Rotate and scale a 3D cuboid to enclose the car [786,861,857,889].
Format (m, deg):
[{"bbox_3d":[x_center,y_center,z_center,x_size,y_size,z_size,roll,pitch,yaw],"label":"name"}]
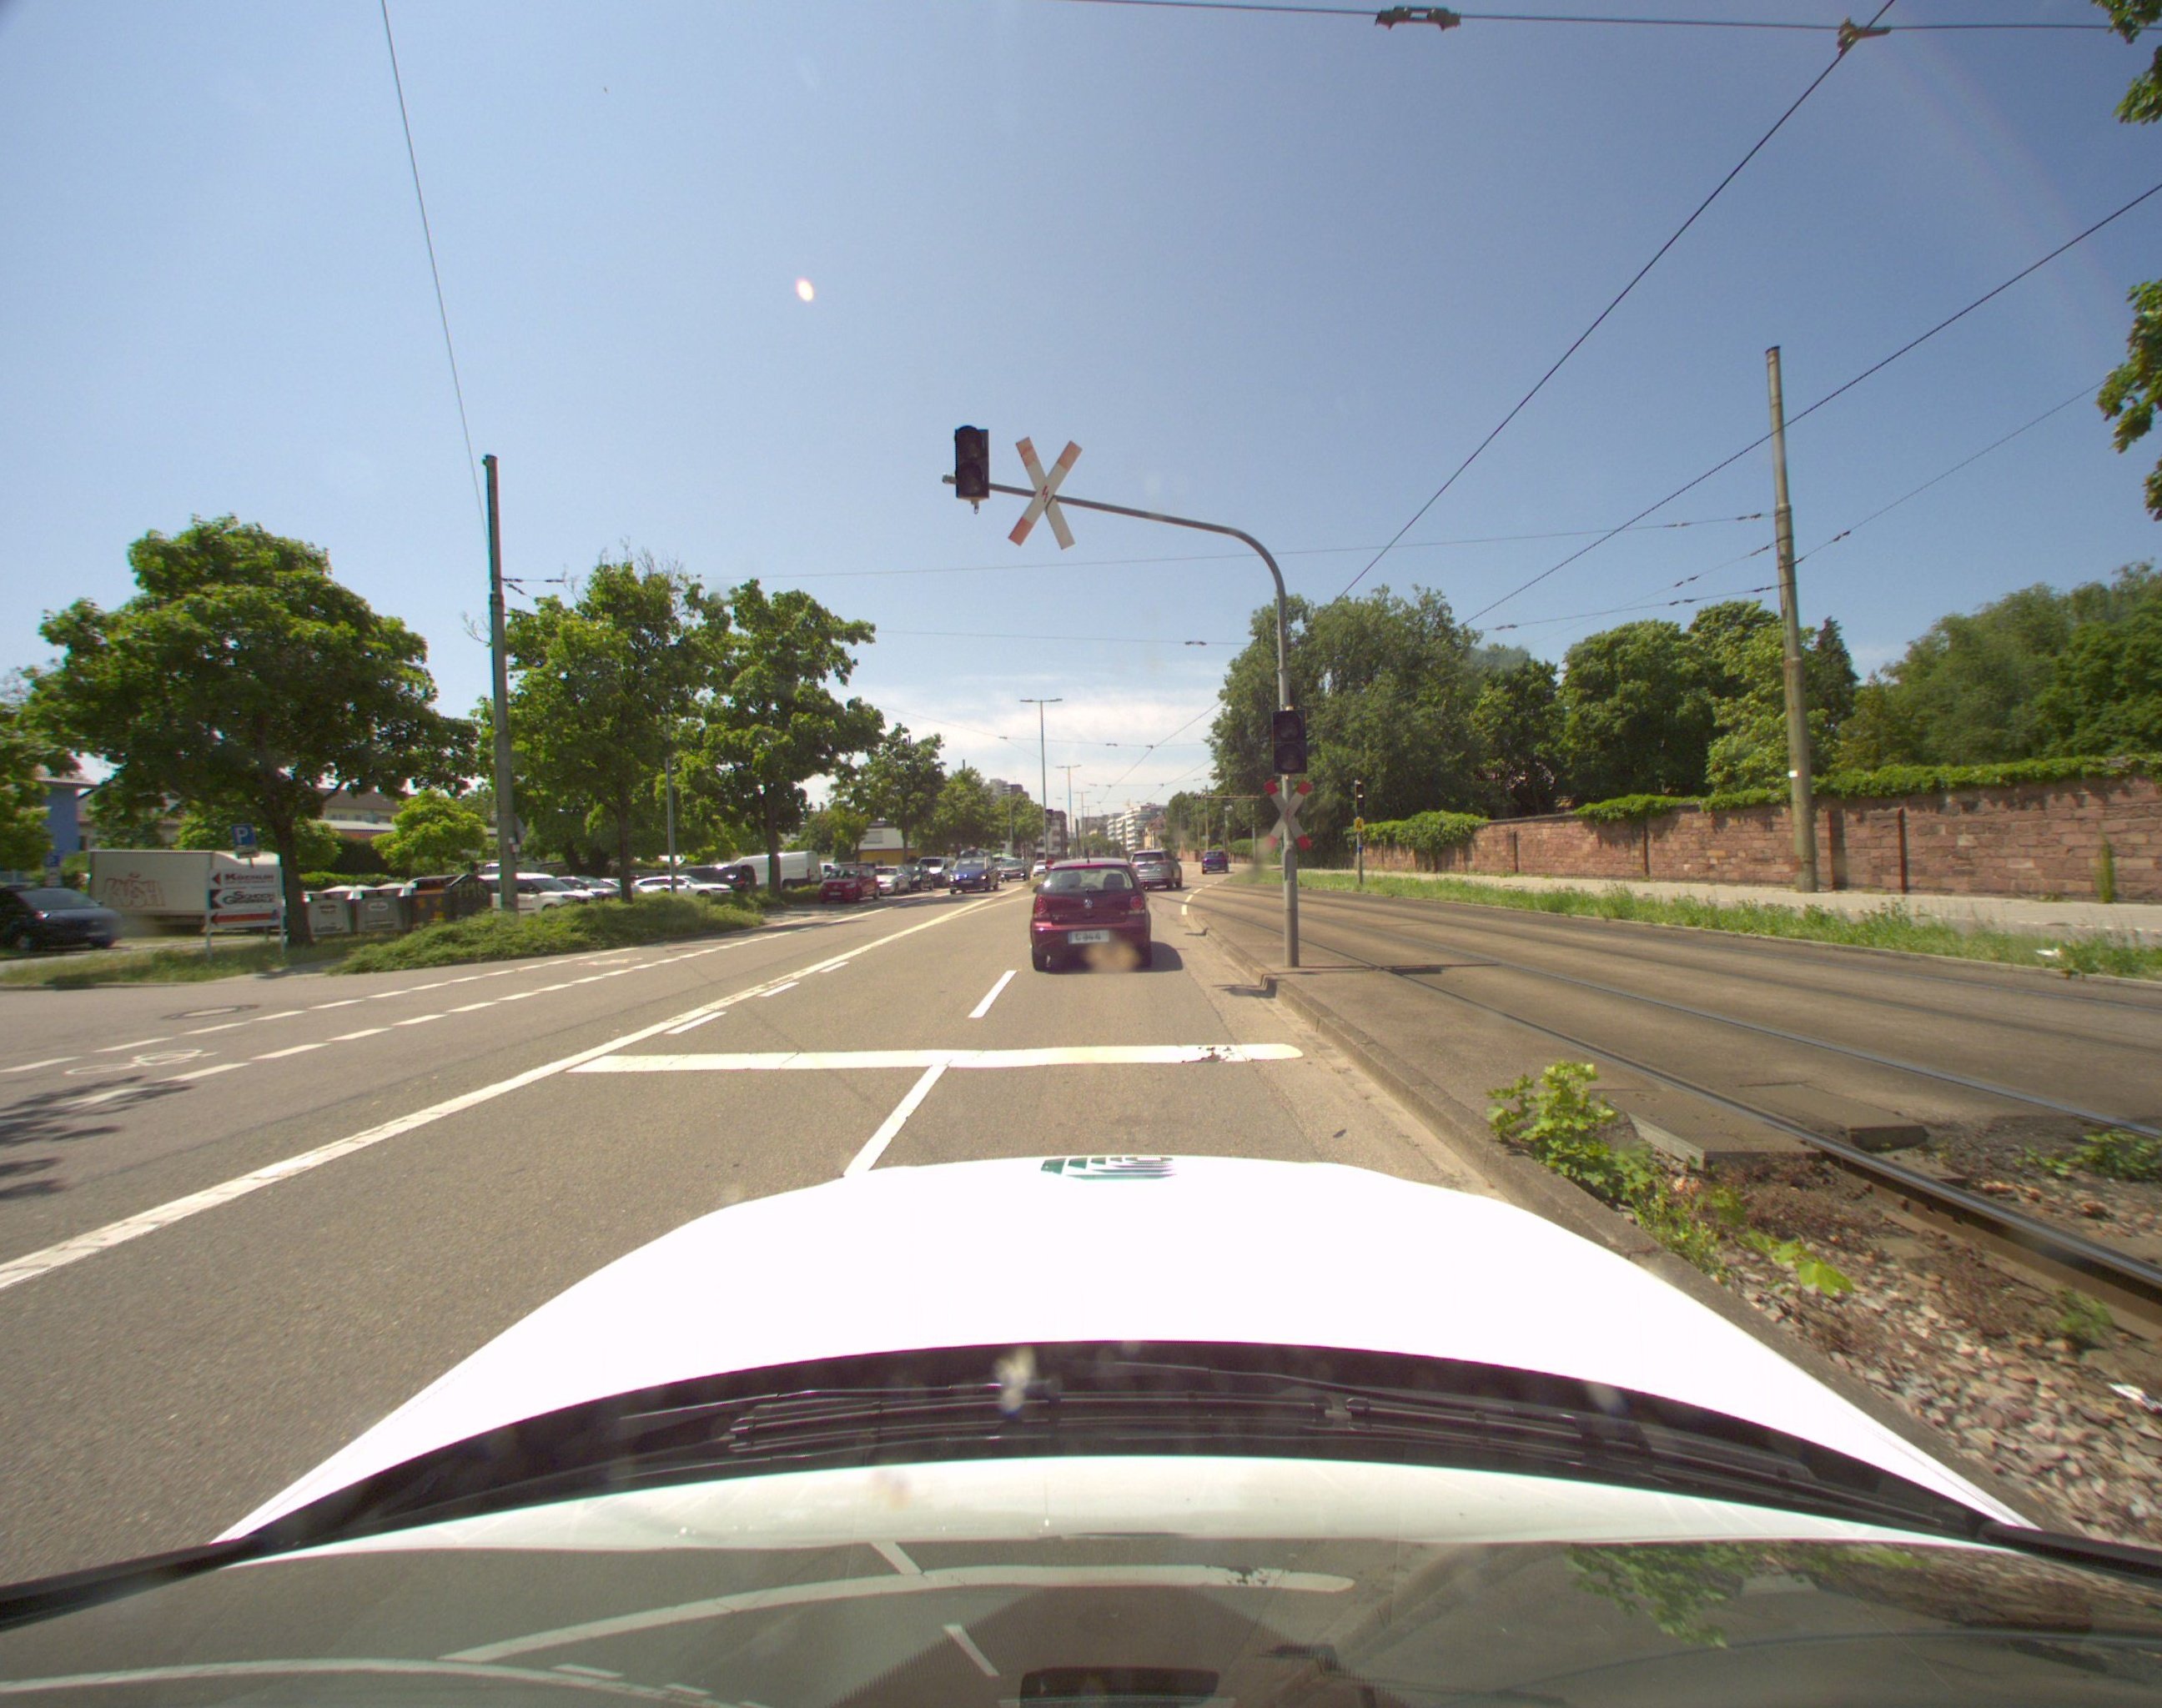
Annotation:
[{"bbox_3d":[-19.605,1.565,61.700,4.703,1.813,1.796,-3,0,-1],"label":"car"}]

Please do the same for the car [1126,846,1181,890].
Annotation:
[{"bbox_3d":[3.036,0.548,33.512,1.784,1.683,4.012,-1,0,11],"label":"car"}]

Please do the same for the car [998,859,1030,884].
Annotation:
[{"bbox_3d":[-4.616,1.202,56.707,1.731,1.575,3.714,-3,0,1],"label":"car"}]

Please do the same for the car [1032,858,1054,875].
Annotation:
[{"bbox_3d":[-3.456,1.166,74.539,1.642,1.376,3.812,-4,-1,2],"label":"car"}]

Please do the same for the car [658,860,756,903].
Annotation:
[{"bbox_3d":[-19.498,1.414,42.591,4.196,1.995,1.856,-3,0,-1],"label":"car"}]

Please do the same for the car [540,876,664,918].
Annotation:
[{"bbox_3d":[-20.541,1.836,35.037,4.104,1.508,1.934,-3,0,3],"label":"car"}]

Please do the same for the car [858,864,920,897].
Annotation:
[{"bbox_3d":[-9.525,1.300,40.777,1.712,1.427,4.774,-2,0,2],"label":"car"}]

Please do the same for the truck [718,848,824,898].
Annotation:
[{"bbox_3d":[-19.311,1.161,50.879,5.556,2.759,2.433,-3,0,2],"label":"truck"}]

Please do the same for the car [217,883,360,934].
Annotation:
[{"bbox_3d":[-31.912,2.156,32.862,4.113,1.820,1.647,-2,0,0],"label":"car"}]

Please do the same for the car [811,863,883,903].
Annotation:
[{"bbox_3d":[-9.629,1.152,33.816,1.664,1.546,3.730,-1,-1,4],"label":"car"}]

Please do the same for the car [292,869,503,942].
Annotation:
[{"bbox_3d":[-20.447,1.503,24.527,4.437,1.857,2.059,-3,0,-3],"label":"car"}]

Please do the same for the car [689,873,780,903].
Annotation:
[{"bbox_3d":[-19.299,1.857,45.529,4.196,1.411,1.856,-3,0,-1],"label":"car"}]

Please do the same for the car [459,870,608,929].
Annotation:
[{"bbox_3d":[-19.691,1.621,29.390,4.248,1.835,1.675,-3,0,3],"label":"car"}]

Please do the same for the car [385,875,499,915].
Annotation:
[{"bbox_3d":[-32.079,2.044,40.968,4.113,1.820,1.971,-2,-1,0],"label":"car"}]

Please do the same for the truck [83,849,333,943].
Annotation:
[{"bbox_3d":[-32.795,1.527,30.747,6.955,3.227,2.150,-2,0,-1],"label":"truck"}]

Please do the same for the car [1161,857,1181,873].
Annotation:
[{"bbox_3d":[9.559,1.166,87.088,1.788,1.683,4.002,-1,0,2],"label":"car"}]

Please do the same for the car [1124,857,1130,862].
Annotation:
[{"bbox_3d":[11.809,1.435,208.561,1.348,1.252,2.973,-1,0,2],"label":"car"}]

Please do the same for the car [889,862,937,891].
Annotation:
[{"bbox_3d":[-9.264,1.220,45.237,1.607,1.484,3.788,1,0,4],"label":"car"}]

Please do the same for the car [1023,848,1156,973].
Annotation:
[{"bbox_3d":[0.219,0.725,12.309,1.603,1.498,4.003,-3,-1,3],"label":"car"}]

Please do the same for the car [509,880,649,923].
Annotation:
[{"bbox_3d":[-19.916,1.846,32.462,4.186,1.403,2.079,-3,0,-3],"label":"car"}]

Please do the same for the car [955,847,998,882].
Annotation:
[{"bbox_3d":[-8.254,0.821,65.094,2.389,2.656,6.175,1,0,2],"label":"car"}]

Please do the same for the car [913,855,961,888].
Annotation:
[{"bbox_3d":[-8.953,1.047,50.997,1.854,1.937,4.810,1,0,4],"label":"car"}]

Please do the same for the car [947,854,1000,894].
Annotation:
[{"bbox_3d":[-4.971,0.907,38.070,1.731,1.657,4.068,-3,0,1],"label":"car"}]

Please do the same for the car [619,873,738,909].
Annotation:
[{"bbox_3d":[-19.739,1.812,40.132,4.746,1.488,2.058,-3,0,-1],"label":"car"}]

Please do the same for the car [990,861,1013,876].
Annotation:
[{"bbox_3d":[-7.868,1.414,80.658,1.624,1.420,3.871,0,0,4],"label":"car"}]

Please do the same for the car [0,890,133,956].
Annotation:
[{"bbox_3d":[-32.756,2.141,25.209,4.687,1.820,1.942,-2,0,3],"label":"car"}]

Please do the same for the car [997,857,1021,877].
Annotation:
[{"bbox_3d":[-7.675,1.368,87.176,1.868,1.965,5.166,1,0,2],"label":"car"}]

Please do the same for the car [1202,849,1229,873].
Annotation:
[{"bbox_3d":[9.571,0.506,57.856,1.763,1.630,4.011,-1,0,9],"label":"car"}]

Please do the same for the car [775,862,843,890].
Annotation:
[{"bbox_3d":[-19.632,1.578,58.976,4.196,1.765,1.856,-3,0,-1],"label":"car"}]
